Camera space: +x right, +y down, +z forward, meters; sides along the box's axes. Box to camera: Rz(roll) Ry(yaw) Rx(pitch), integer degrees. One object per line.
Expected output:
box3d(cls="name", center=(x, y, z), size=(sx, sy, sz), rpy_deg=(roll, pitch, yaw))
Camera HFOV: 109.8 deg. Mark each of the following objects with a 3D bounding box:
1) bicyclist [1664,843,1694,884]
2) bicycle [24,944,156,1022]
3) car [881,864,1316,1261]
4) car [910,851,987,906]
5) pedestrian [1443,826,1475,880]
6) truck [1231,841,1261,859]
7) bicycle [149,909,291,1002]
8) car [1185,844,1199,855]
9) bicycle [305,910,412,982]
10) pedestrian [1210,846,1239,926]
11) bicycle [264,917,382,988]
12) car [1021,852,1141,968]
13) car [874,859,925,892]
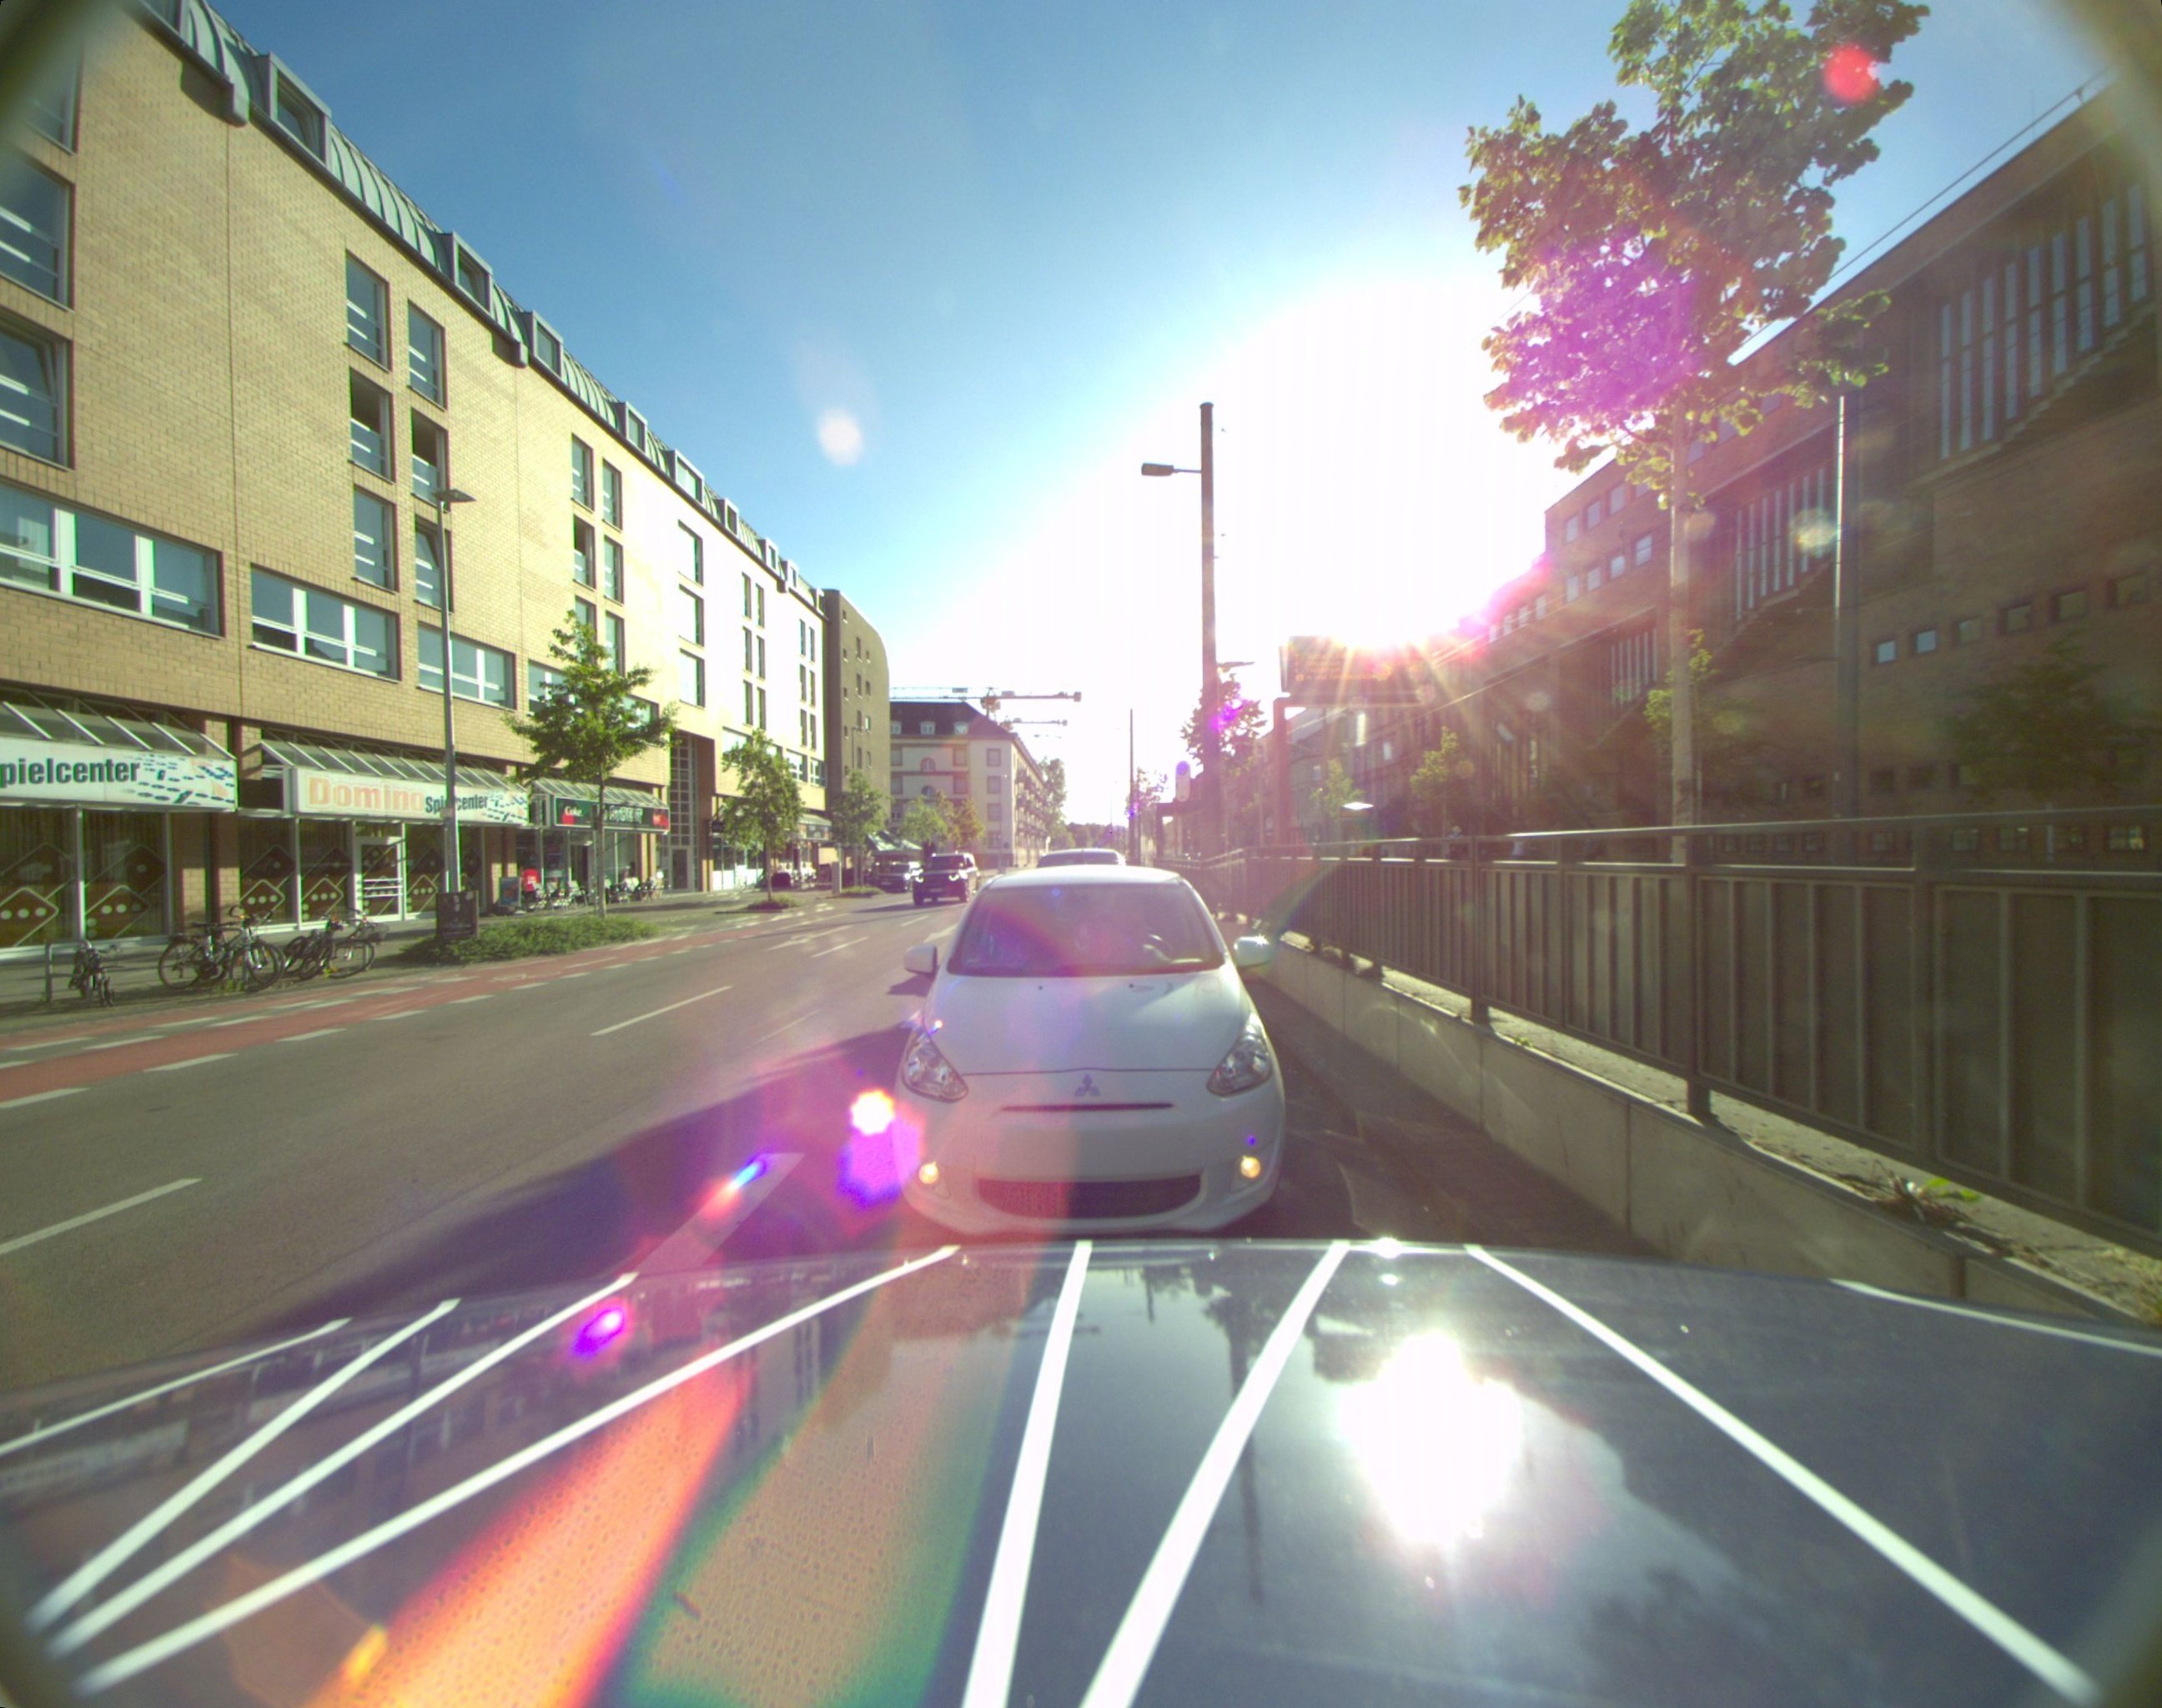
box3d(cls="bicyclist", center=(22.522, 0.355, 28.622), size=(0.588, 1.525, 0.650), rpy_deg=(-2, 2, 1))
box3d(cls="bicycle", center=(-12.764, 1.642, 9.783), size=(1.772, 0.827, 0.366), rpy_deg=(1, 2, 15))
box3d(cls="car", center=(0.072, 0.884, 5.209), size=(1.720, 1.422, 4.215), rpy_deg=(-2, 1, 0))
box3d(cls="car", center=(-5.101, 0.916, 29.824), size=(2.164, 1.903, 4.473), rpy_deg=(-2, 0, 0))
box3d(cls="pedestrian", center=(12.748, -0.038, 25.619), size=(0.685, 1.797, 0.668), rpy_deg=(-2, 2, 0))
box3d(cls="truck", center=(17.661, -0.389, 81.588), size=(1.999, 1.868, 5.155), rpy_deg=(1, 0, 0))
box3d(cls="bicycle", center=(-12.361, 1.431, 10.916), size=(1.835, 1.156, 0.565), rpy_deg=(1, 2, 15))
box3d(cls="car", center=(17.968, -0.735, 122.741), size=(1.655, 1.617, 3.447), rpy_deg=(-2, 1, 0))
box3d(cls="bicycle", center=(-11.887, 1.495, 12.503), size=(1.835, 1.050, 0.350), rpy_deg=(1, 2, 15))
box3d(cls="pedestrian", center=(4.451, 0.971, 23.610), size=(0.684, 2.428, 0.626), rpy_deg=(-2, 2, -2))
box3d(cls="bicycle", center=(-12.012, 1.541, 12.039), size=(1.835, 0.980, 0.449), rpy_deg=(1, 2, 15))
box3d(cls="car", center=(-0.009, 0.838, 13.463), size=(1.720, 1.591, 4.215), rpy_deg=(-2, 1, 0))
box3d(cls="car", center=(-9.861, 1.145, 41.598), size=(1.779, 1.630, 4.000), rpy_deg=(-1, 0, 1))
